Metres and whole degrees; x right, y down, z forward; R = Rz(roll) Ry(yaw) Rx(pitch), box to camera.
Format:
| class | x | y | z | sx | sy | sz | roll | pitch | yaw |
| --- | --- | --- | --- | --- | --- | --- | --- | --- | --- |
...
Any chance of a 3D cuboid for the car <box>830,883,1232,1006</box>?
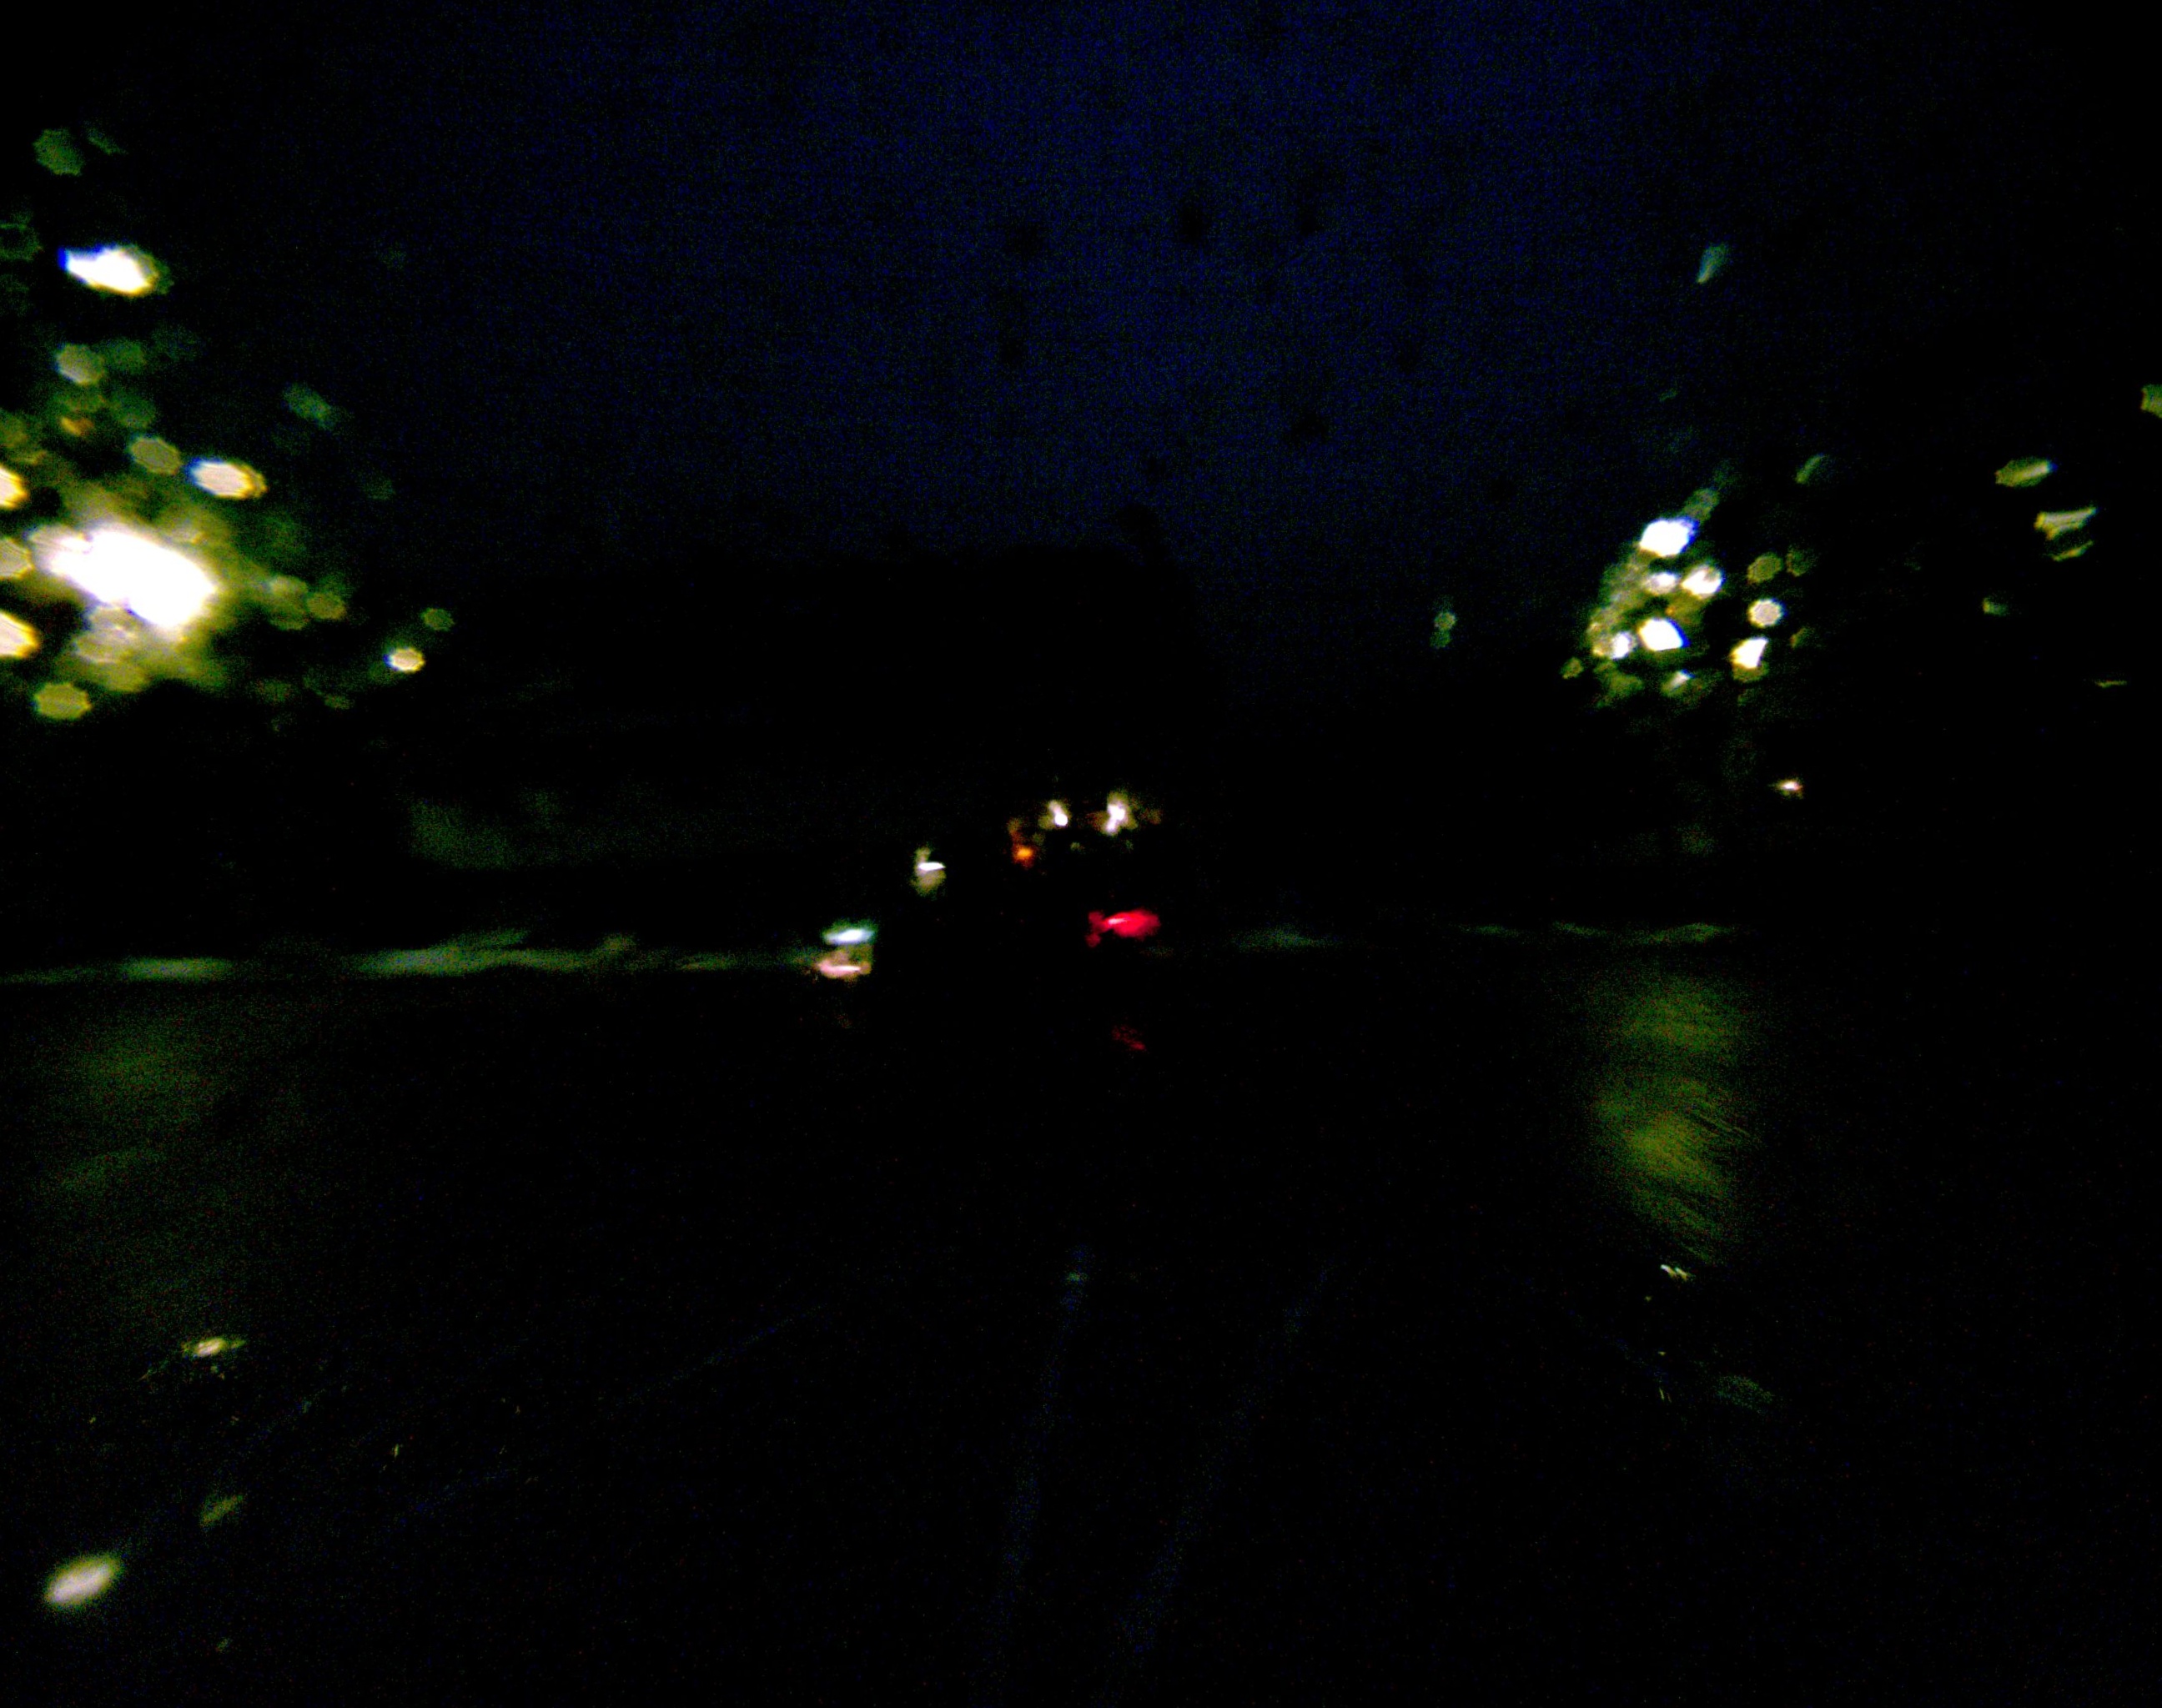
| class | x | y | z | sx | sy | sz | roll | pitch | yaw |
| --- | --- | --- | --- | --- | --- | --- | --- | --- | --- |
| car | -0.673 | 1.103 | 10.263 | 4.935 | 1.373 | 1.998 | 0 | -1 | -11 |
